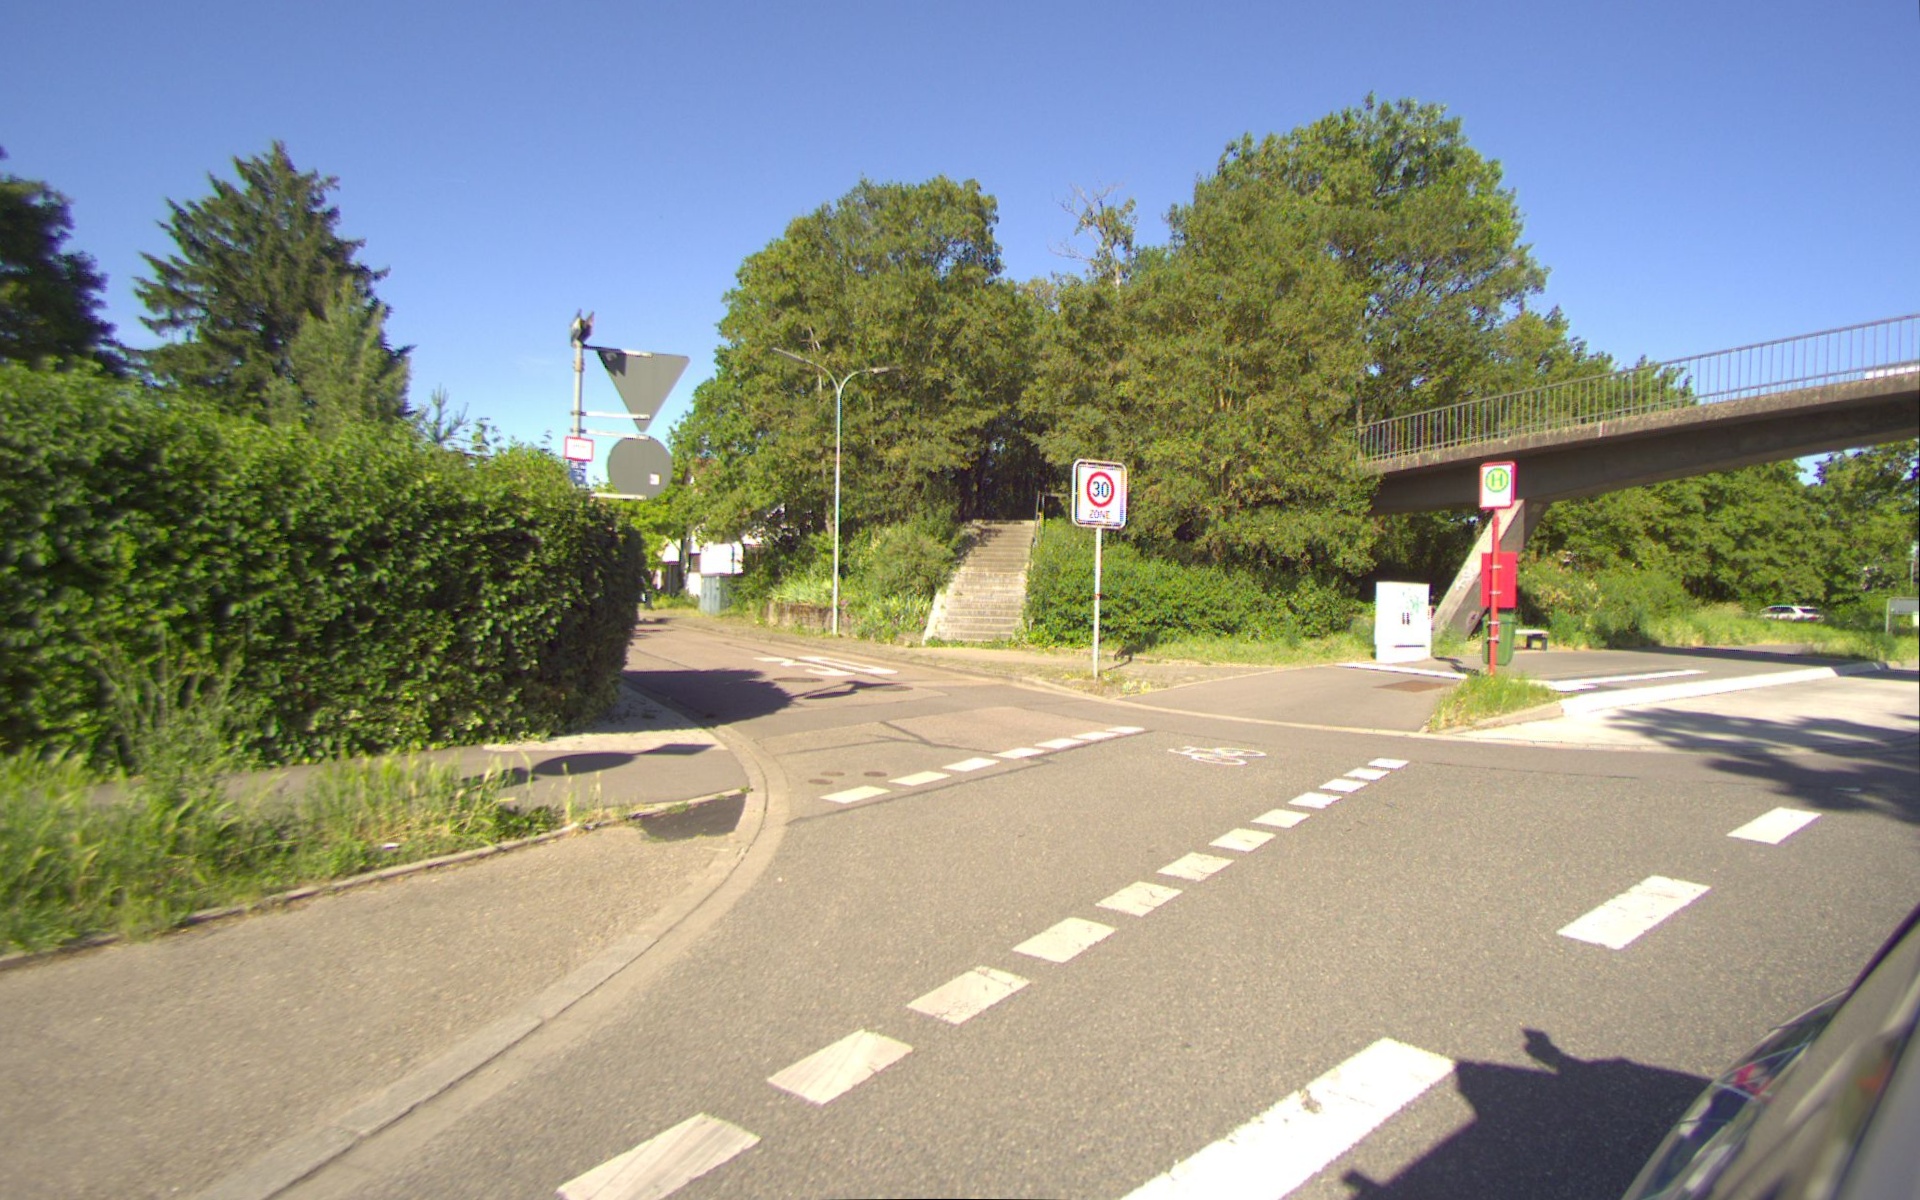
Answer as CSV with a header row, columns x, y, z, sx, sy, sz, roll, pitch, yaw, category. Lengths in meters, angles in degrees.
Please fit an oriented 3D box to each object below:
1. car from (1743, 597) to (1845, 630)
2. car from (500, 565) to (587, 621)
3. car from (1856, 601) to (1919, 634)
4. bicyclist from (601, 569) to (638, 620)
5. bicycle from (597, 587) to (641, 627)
x,y,z,sx,sy,sz,roll,pitch,yaw,category
53.365,0.857,64.842,2.029,1.892,4.538,3,0,-30,car
-12.904,-0.188,31.219,2.027,1.609,3.722,1,-1,-30,car
56.346,1.051,59.871,1.893,1.824,4.651,3,0,-30,car
-9.639,-0.163,28.619,0.772,1.415,1.114,1,0,-30,bicyclist
-9.728,0.182,28.801,0.690,1.055,2.424,1,1,-30,bicycle
